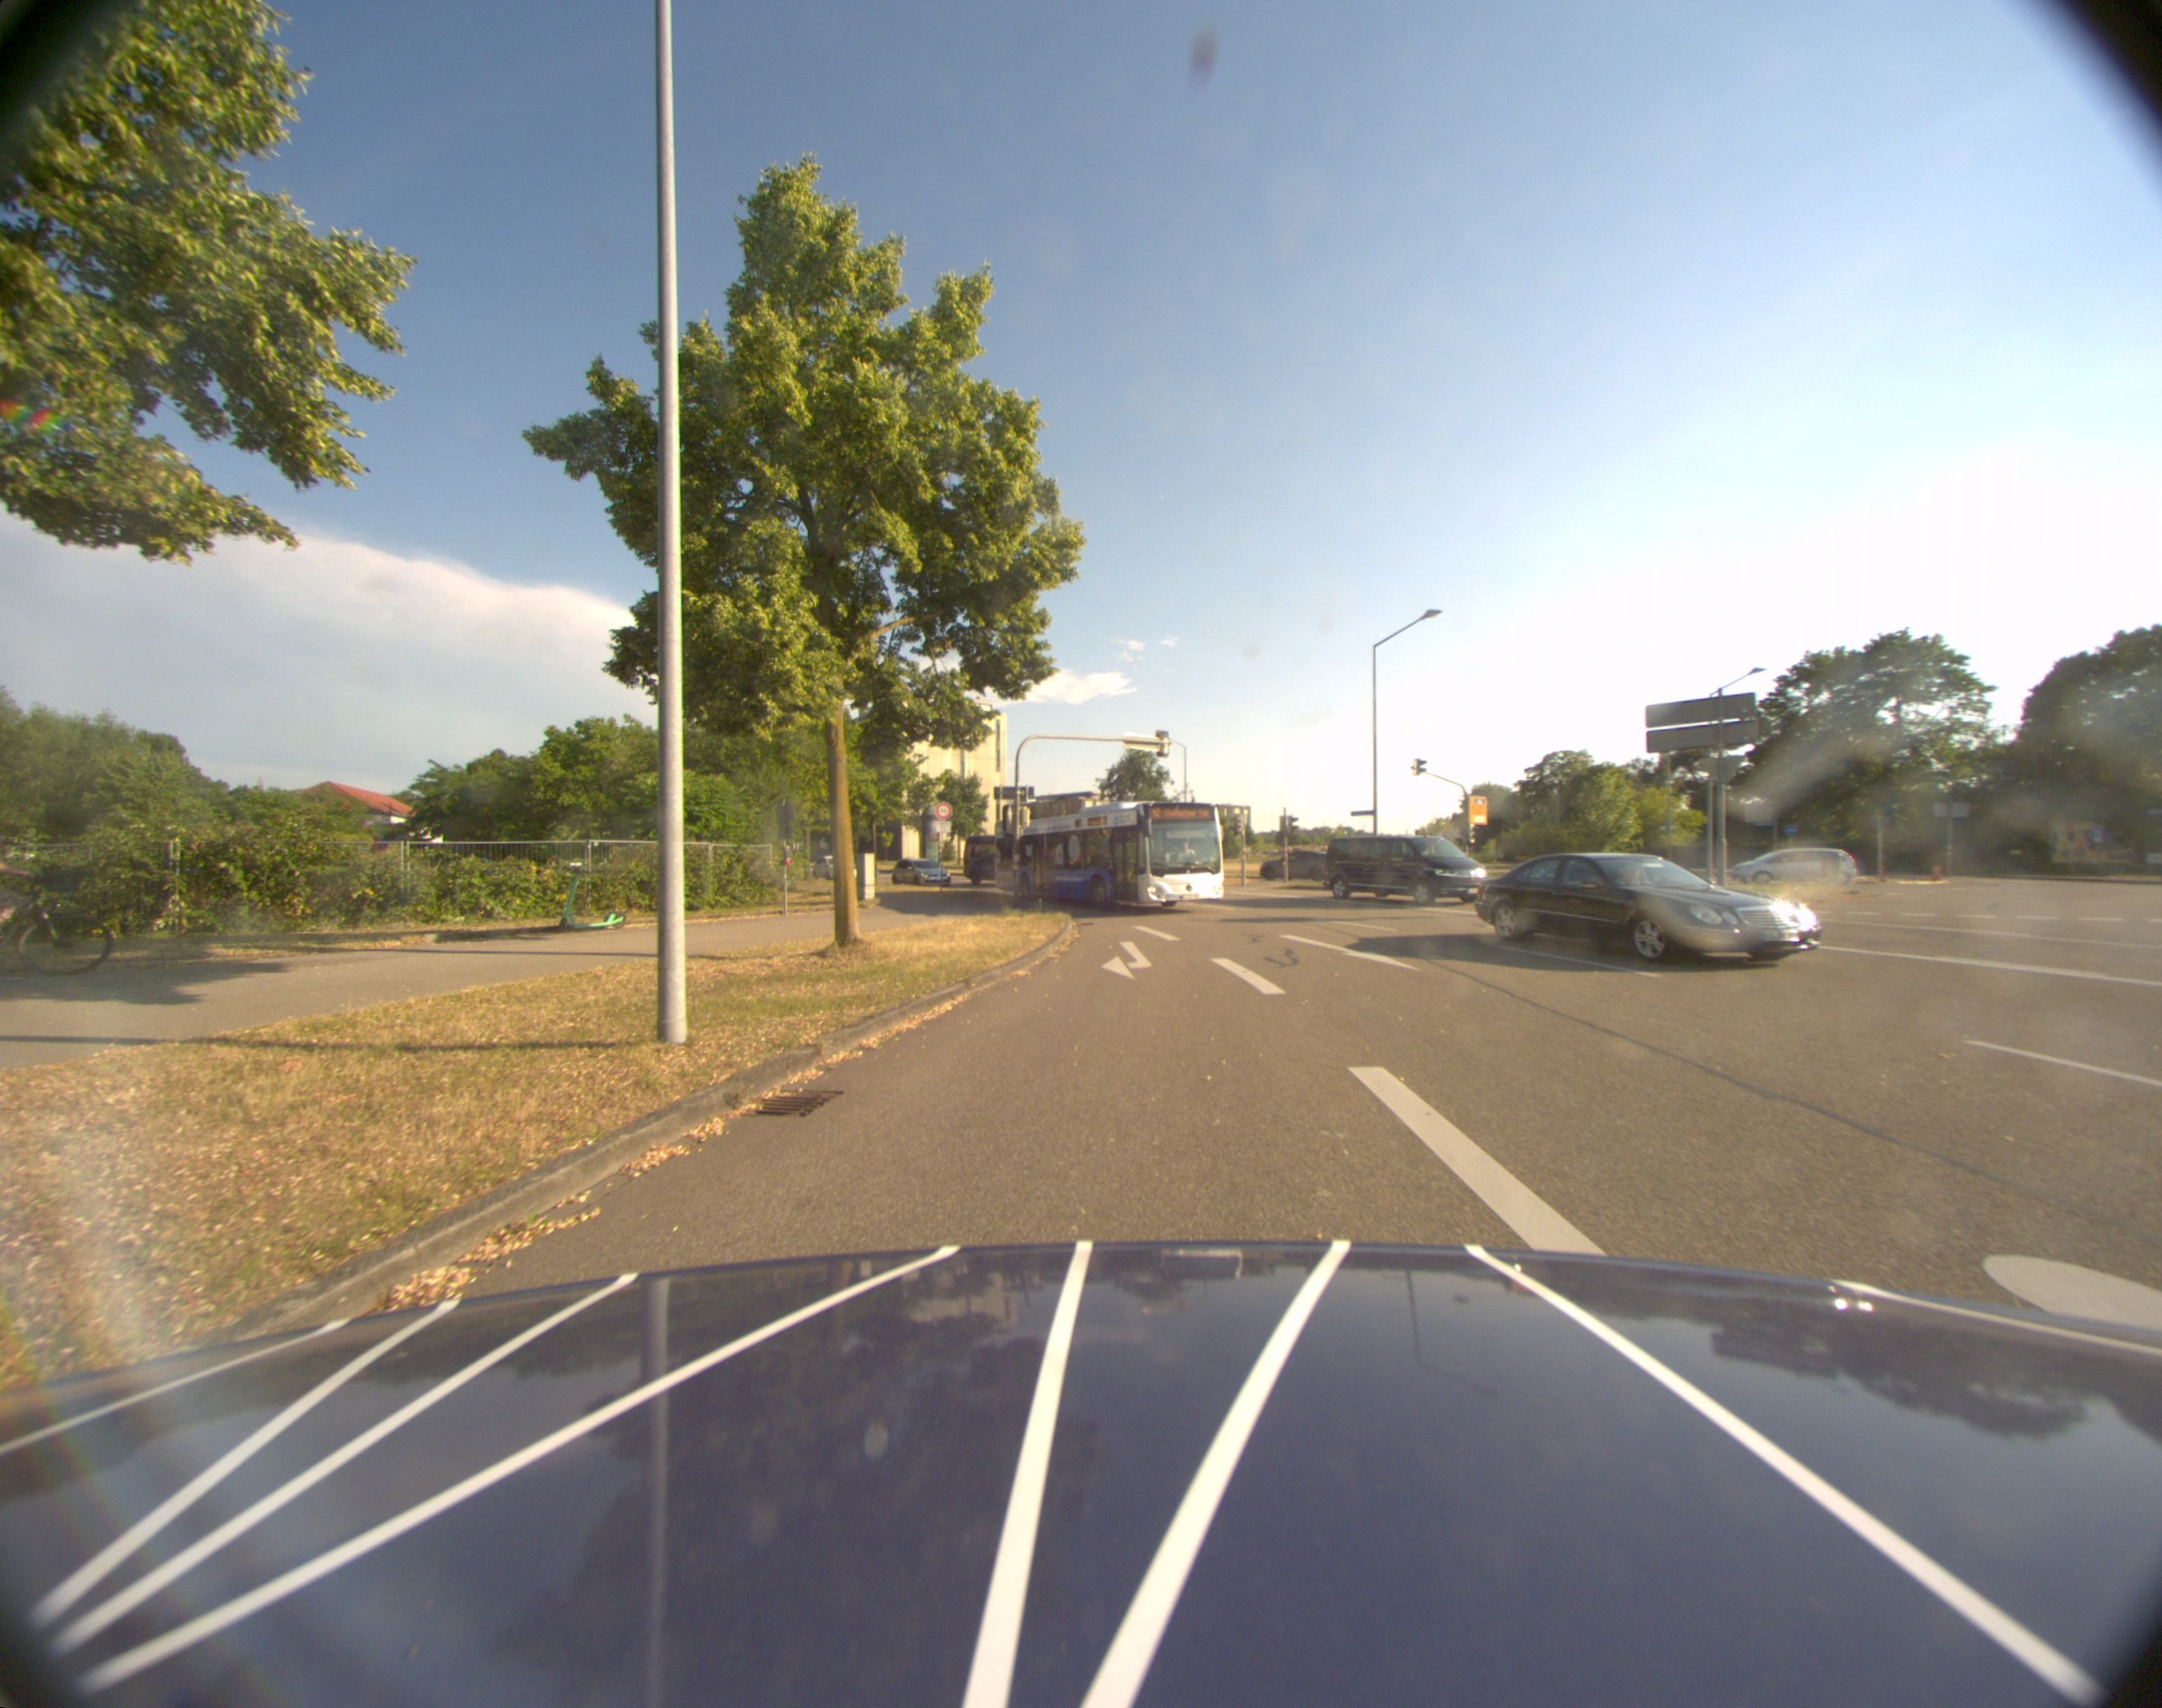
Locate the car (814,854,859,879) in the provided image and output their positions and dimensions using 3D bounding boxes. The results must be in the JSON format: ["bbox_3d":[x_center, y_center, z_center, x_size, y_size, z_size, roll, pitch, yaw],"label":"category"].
[{"bbox_3d":[-15.932,0.772,49.448,1.589,1.553,3.617,-1,1,-39],"label":"car"}]

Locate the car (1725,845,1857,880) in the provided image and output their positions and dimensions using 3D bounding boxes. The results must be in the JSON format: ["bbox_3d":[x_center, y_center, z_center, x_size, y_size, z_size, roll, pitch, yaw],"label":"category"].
[{"bbox_3d":[31.296,0.366,33.637,3.934,1.516,1.659,0,1,22],"label":"car"}]

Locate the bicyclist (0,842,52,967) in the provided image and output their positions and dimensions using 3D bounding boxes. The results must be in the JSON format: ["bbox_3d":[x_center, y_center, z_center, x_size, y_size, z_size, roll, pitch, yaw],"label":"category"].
[{"bbox_3d":[-12.184,0.550,8.282,0.982,1.355,0.557,-1,1,-31],"label":"bicyclist"}]

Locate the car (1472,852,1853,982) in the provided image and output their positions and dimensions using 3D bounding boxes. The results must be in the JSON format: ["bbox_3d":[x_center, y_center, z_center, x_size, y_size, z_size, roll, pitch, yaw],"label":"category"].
[{"bbox_3d":[7.962,0.724,11.093,1.811,1.428,4.490,-1,1,-6],"label":"car"}]

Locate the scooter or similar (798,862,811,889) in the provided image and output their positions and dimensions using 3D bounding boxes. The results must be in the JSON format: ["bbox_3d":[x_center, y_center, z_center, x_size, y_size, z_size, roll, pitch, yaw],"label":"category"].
[{"bbox_3d":[-11.944,0.914,32.764,0.250,1.119,1.092,2,-1,-33],"label":"scooter or similar"}]

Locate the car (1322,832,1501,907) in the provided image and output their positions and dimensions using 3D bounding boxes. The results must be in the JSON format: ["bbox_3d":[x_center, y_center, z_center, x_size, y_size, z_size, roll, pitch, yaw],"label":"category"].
[{"bbox_3d":[9.543,0.359,22.448,1.864,1.921,5.003,-2,2,-21],"label":"car"}]

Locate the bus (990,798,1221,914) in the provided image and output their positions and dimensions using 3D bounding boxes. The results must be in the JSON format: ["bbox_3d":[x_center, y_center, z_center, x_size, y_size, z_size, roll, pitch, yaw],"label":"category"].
[{"bbox_3d":[0.119,-0.018,25.568,2.600,3.025,11.693,-2,1,-26],"label":"bus"}]

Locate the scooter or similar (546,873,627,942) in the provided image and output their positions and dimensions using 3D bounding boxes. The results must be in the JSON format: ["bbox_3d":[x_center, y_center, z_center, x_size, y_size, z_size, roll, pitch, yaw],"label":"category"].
[{"bbox_3d":[-8.907,0.934,13.708,0.341,1.153,1.173,1,1,33],"label":"scooter or similar"}]

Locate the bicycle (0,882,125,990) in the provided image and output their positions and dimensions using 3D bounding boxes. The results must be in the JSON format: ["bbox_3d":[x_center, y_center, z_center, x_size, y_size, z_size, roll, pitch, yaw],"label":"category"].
[{"bbox_3d":[-12.021,0.897,8.350,1.832,1.149,0.490,1,1,-31],"label":"bicycle"}]

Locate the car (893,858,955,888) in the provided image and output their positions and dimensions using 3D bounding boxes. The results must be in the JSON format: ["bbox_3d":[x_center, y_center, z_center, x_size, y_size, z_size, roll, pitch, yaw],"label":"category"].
[{"bbox_3d":[-8.148,0.956,39.267,1.589,1.415,3.617,-1,1,-39],"label":"car"}]

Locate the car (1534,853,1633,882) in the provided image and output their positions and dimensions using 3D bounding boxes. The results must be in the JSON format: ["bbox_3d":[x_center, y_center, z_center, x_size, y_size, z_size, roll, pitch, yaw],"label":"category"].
[{"bbox_3d":[24.245,0.644,36.821,3.821,1.341,1.483,0,1,25],"label":"car"}]
